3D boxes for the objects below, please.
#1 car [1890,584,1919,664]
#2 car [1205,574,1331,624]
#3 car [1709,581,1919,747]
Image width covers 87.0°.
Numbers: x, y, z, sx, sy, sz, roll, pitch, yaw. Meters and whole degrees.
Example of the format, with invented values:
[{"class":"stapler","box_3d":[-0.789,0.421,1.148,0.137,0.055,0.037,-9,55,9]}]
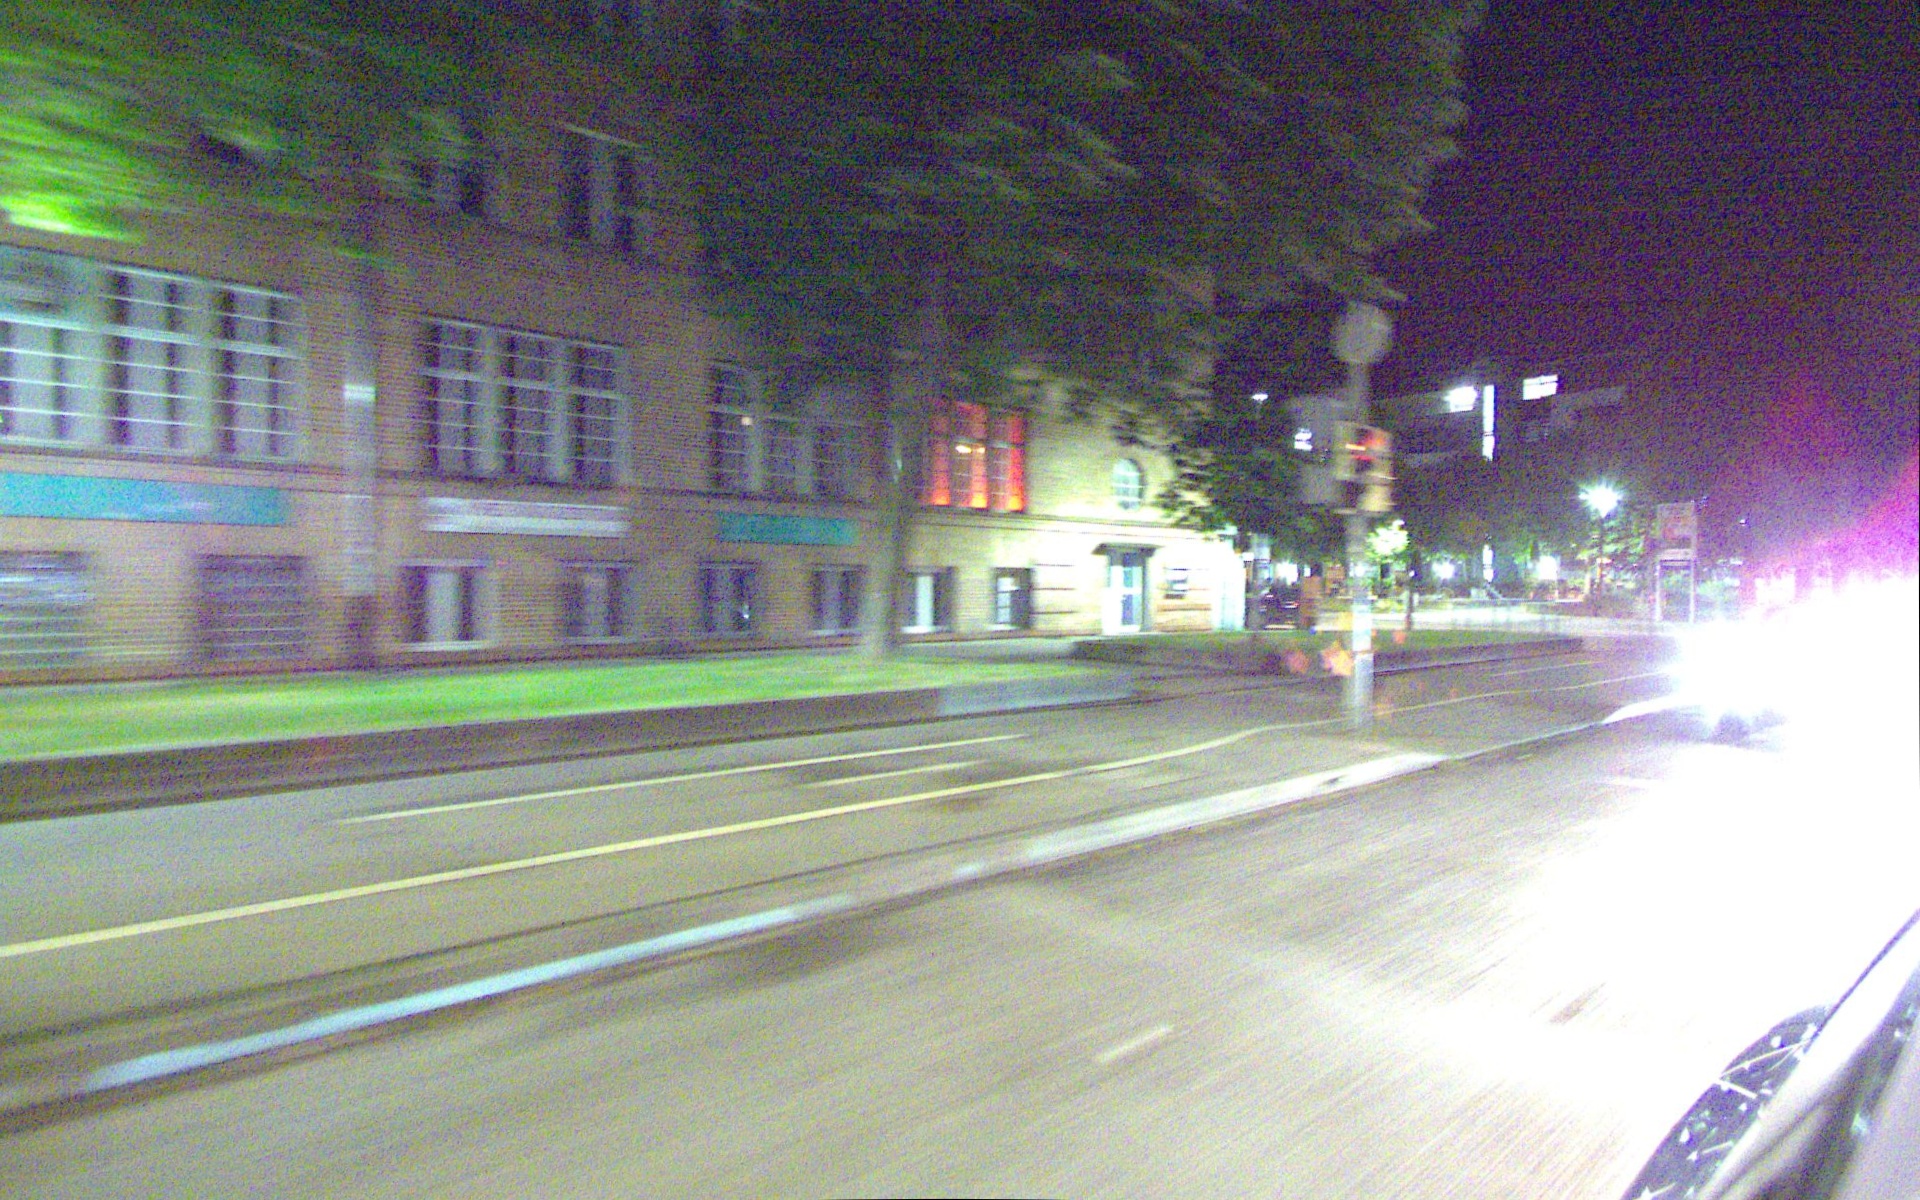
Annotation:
[{"class":"car","box_3d":[20.456,0.419,20.445,4.645,1.513,1.808,-1,0,-40]},{"class":"car","box_3d":[9.809,-0.009,32.068,4.398,1.412,1.517,2,1,-37]},{"class":"car","box_3d":[9.785,0.570,11.125,3.930,1.513,1.640,-1,0,-41]}]
